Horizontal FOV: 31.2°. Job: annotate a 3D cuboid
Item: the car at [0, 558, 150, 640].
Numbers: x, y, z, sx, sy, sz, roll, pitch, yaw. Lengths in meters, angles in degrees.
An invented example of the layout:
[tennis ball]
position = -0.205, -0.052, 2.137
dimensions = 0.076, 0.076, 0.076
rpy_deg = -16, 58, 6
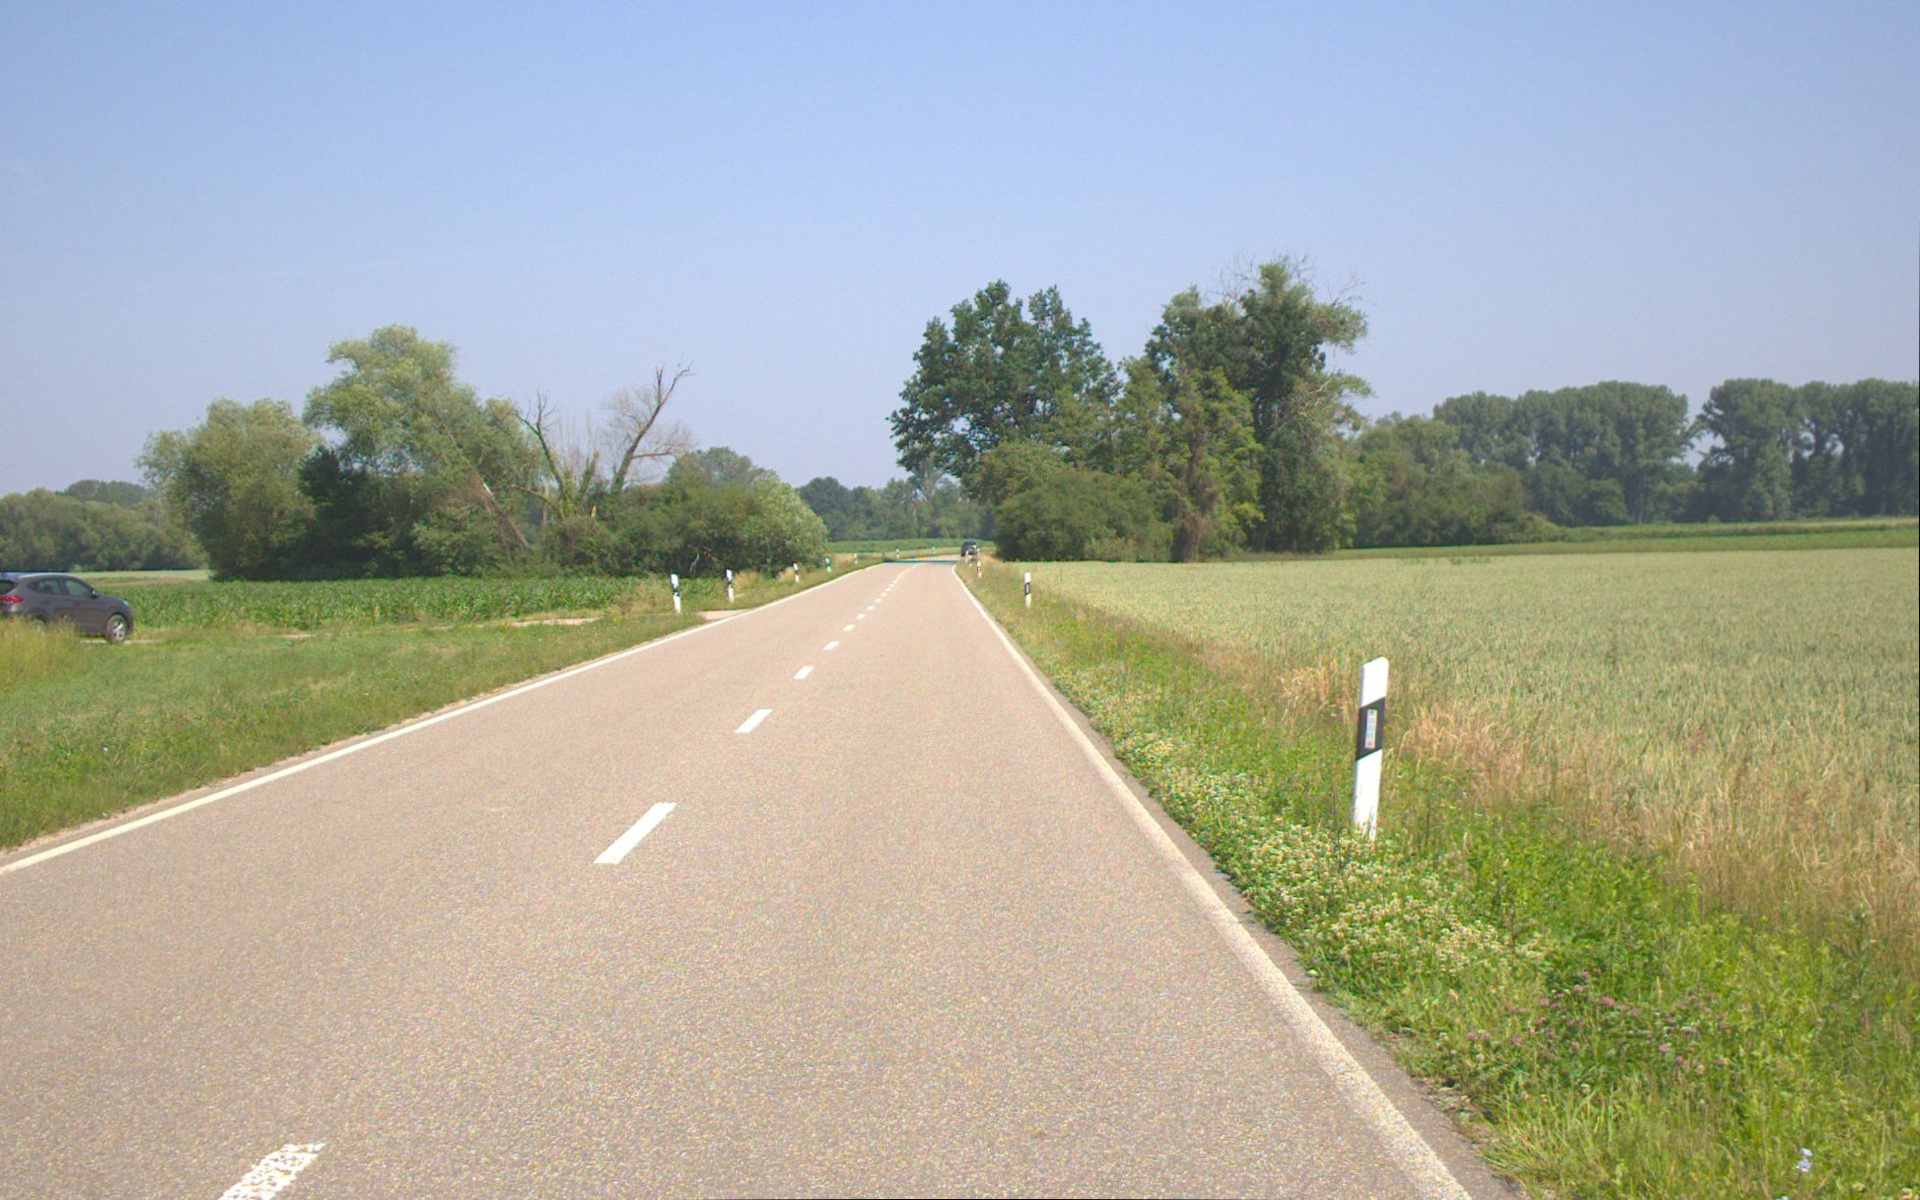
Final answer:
[car]
position = -20.000, -0.035, 75.670
dimensions = 1.755, 1.645, 4.523
rpy_deg = -1, 1, 25
